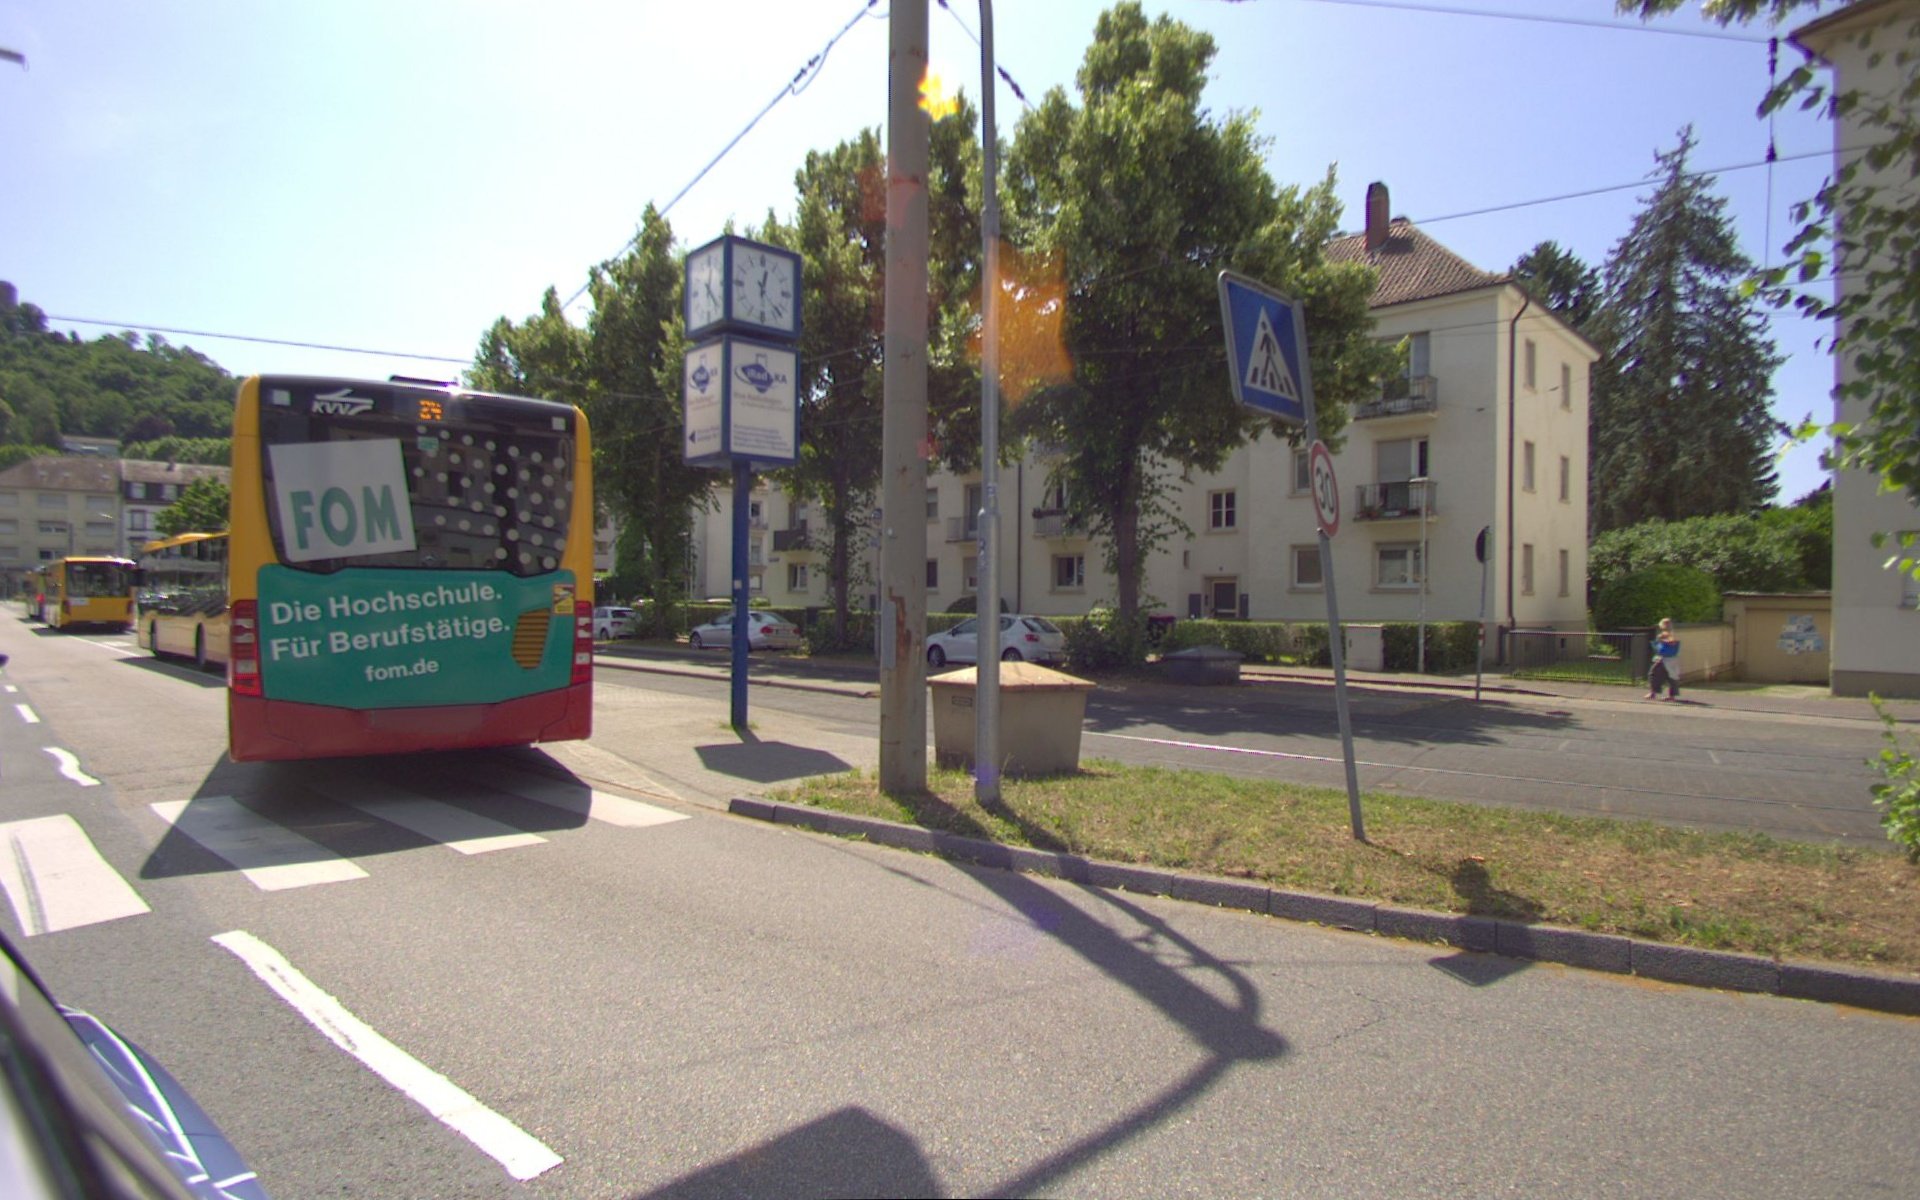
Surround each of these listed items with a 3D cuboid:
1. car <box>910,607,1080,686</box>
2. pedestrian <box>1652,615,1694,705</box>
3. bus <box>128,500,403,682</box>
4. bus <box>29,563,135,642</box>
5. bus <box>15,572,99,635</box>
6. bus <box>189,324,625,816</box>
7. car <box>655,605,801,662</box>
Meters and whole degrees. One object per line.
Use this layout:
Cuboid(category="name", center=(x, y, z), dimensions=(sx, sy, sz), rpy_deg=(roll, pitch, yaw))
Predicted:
Cuboid(category="car", center=(0.813, 1.076, 24.965), dimensions=(3.998, 1.630, 1.732), rpy_deg=(2, 3, 41))
Cuboid(category="pedestrian", center=(13.830, 1.152, 19.627), dimensions=(0.606, 1.664, 0.568), rpy_deg=(2, 2, 39))
Cuboid(category="bus", center=(-16.531, -0.262, 23.472), dimensions=(12.122, 3.272, 2.875), rpy_deg=(1, 2, 44))
Cuboid(category="bus", center=(-41.279, -0.102, 47.372), dimensions=(2.865, 3.271, 12.204), rpy_deg=(-2, 3, -45))
Cuboid(category="bus", center=(-54.853, 0.193, 61.316), dimensions=(12.043, 3.452, 2.875), rpy_deg=(0, 1, 44))
Cuboid(category="bus", center=(-7.250, -0.199, 12.578), dimensions=(2.742, 3.232, 12.340), rpy_deg=(-2, 1, -33))
Cuboid(category="car", center=(-7.710, 1.018, 33.145), dimensions=(6.045, 1.468, 1.688), rpy_deg=(2, 3, 45))
